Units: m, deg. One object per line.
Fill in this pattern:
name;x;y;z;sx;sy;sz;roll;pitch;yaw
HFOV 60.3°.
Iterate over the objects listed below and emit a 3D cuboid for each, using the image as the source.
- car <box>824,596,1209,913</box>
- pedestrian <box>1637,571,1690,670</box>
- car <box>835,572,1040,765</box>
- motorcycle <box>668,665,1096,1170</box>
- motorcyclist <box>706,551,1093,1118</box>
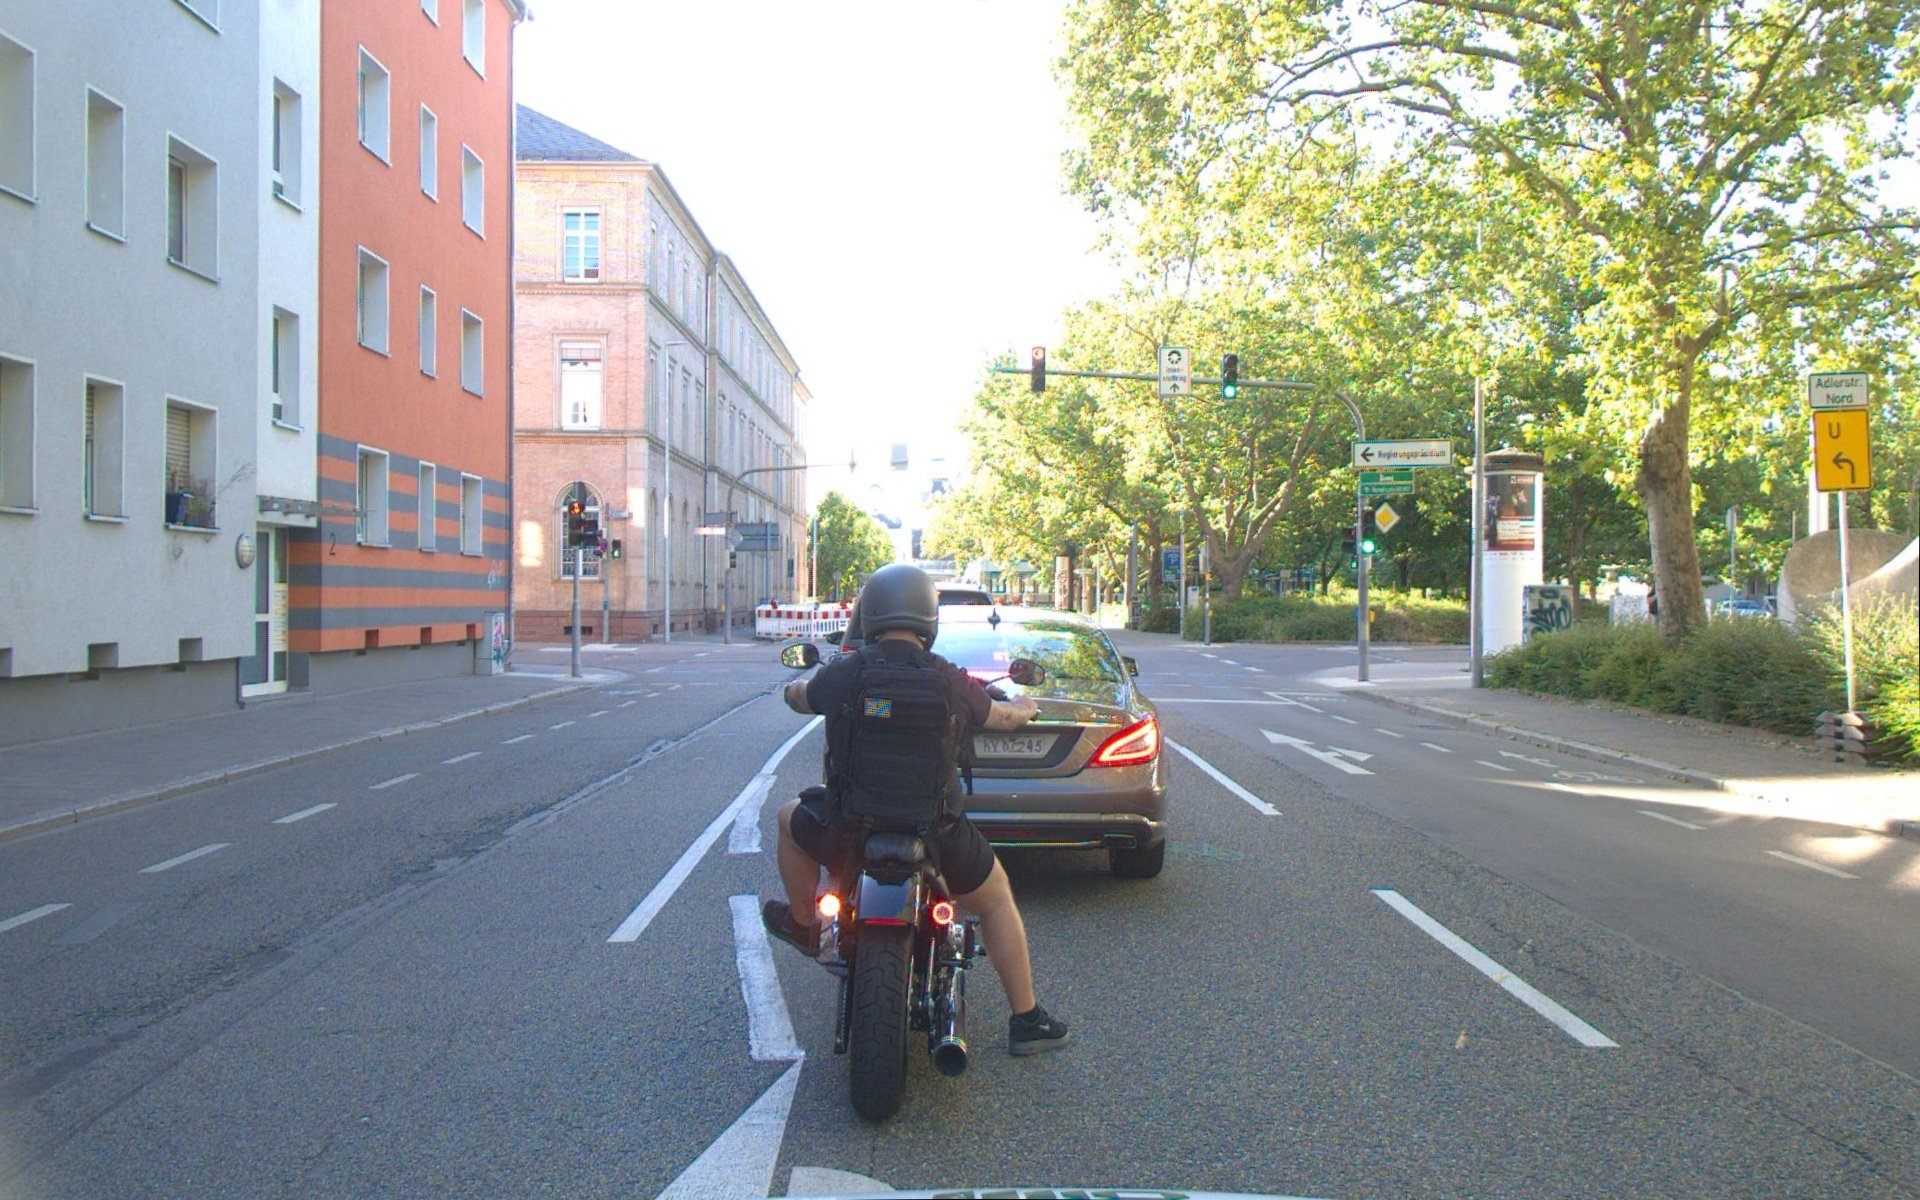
car;0.240;0.735;9.666;1.785;1.462;3.805;1;0;-1
pedestrian;13.115;0.385;30.842;0.720;1.809;0.730;1;-1;7
car;-0.233;0.627;16.938;1.825;1.707;3.999;1;0;-1
motorcycle;-0.122;0.877;5.494;1.094;1.228;2.213;1;0;5
motorcyclist;-0.134;0.666;5.274;1.076;1.593;1.072;1;0;5
